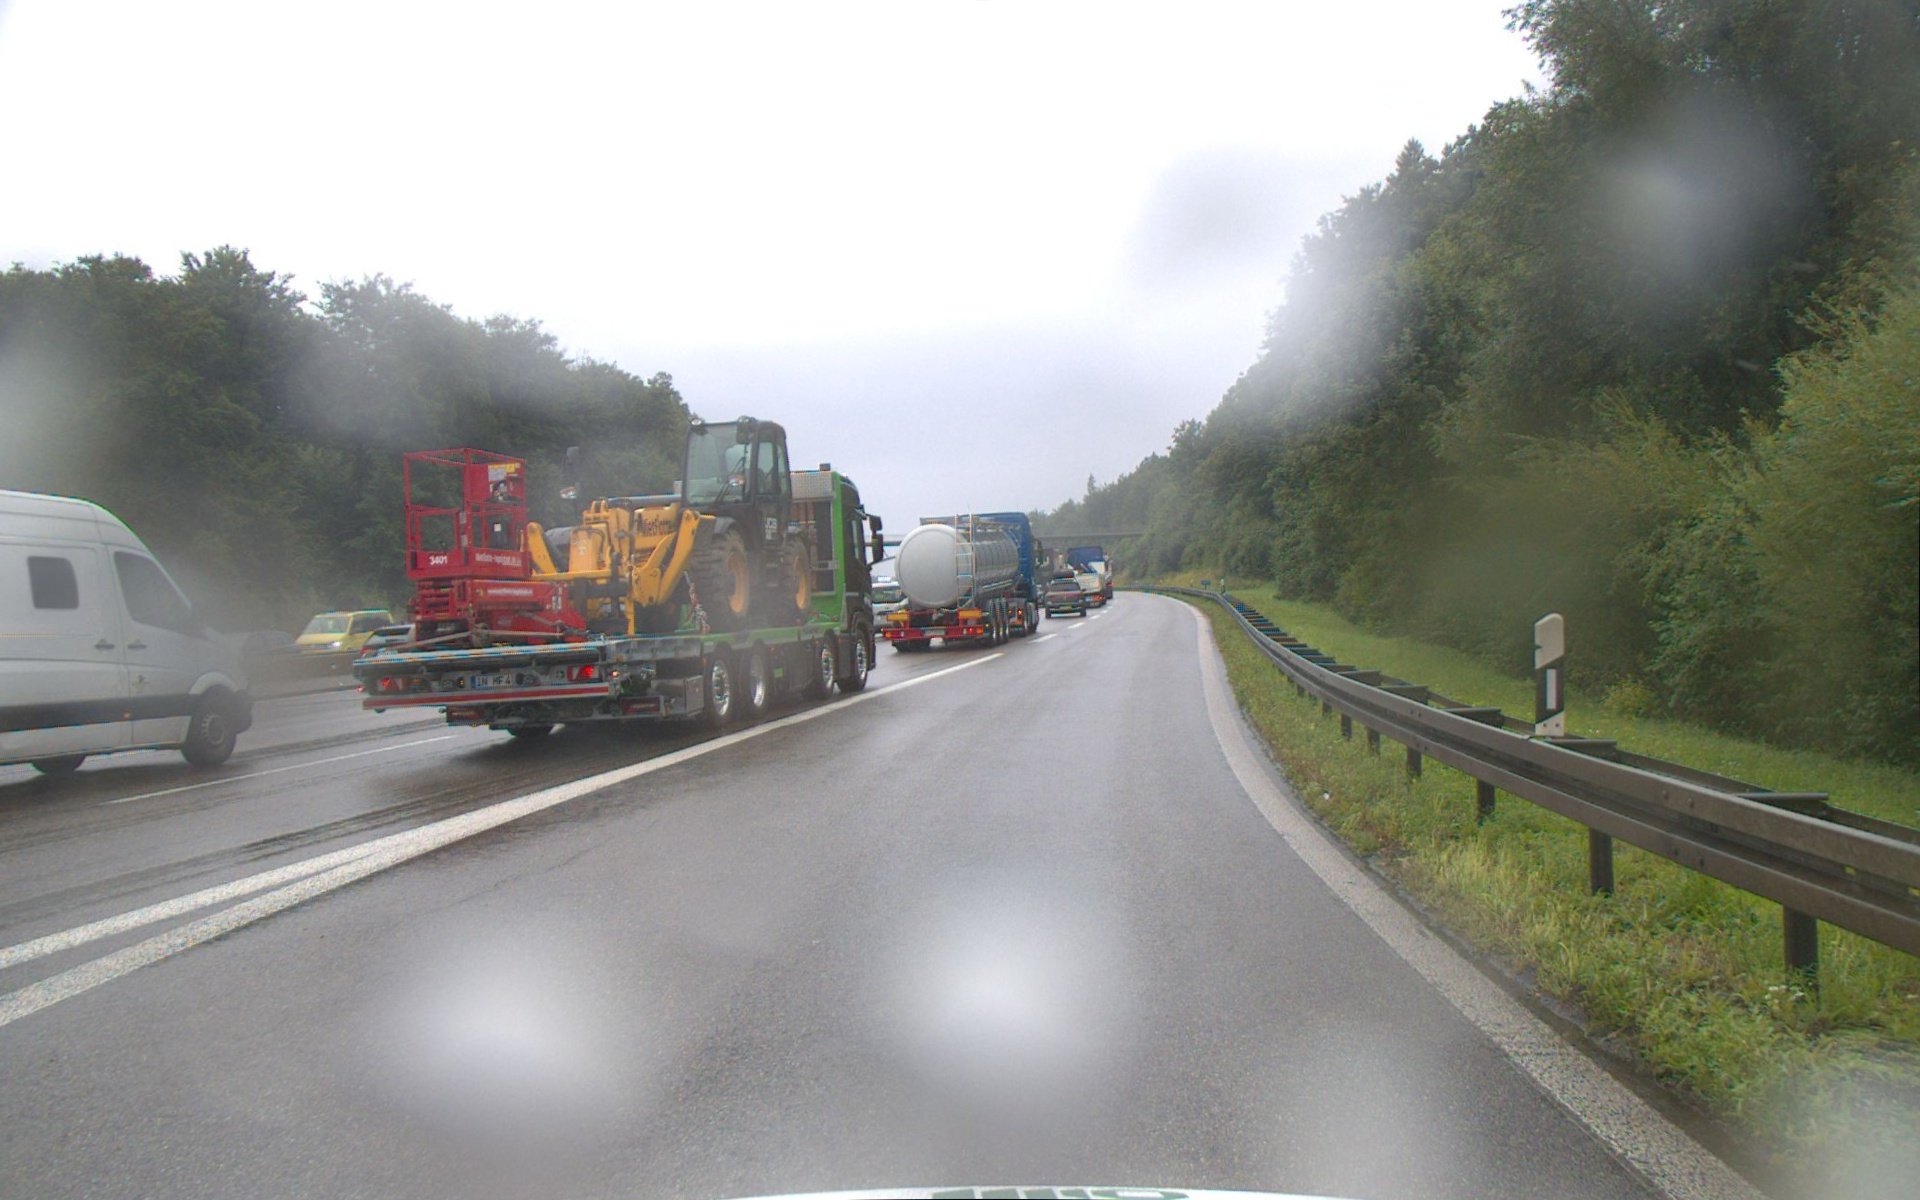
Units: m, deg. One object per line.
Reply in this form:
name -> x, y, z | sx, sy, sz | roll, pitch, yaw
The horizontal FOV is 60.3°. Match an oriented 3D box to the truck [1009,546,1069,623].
truck -> 6.116, -1.047, 126.741 | 3.674, 5.595, 10.179 | 1, -1, 7

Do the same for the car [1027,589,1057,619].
car -> 5.435, 0.271, 108.999 | 1.759, 1.937, 4.002 | 0, -1, 6

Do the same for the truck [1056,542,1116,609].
truck -> 8.928, -1.600, 115.866 | 3.432, 4.343, 10.611 | 1, -1, 8

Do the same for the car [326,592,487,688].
car -> -12.633, 0.909, 38.025 | 1.759, 2.049, 4.003 | 1, -1, 10

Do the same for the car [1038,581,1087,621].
car -> 4.608, 0.056, 73.689 | 1.951, 1.665, 4.003 | 1, -1, 7

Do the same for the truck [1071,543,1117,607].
truck -> 13.237, -2.378, 162.957 | 4.244, 5.865, 9.736 | 1, -1, 5

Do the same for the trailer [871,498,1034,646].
trailer -> 0.038, -0.733, 43.950 | 2.812, 3.346, 10.087 | -3, 0, 8

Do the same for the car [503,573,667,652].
car -> -8.565, 0.243, 38.280 | 1.951, 1.621, 4.812 | -3, 0, 9

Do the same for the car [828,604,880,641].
car -> -5.536, 1.152, 86.909 | 1.951, 1.803, 4.138 | -2, 0, 7

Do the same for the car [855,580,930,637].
car -> -2.234, 0.265, 55.892 | 1.781, 1.798, 4.003 | -2, 0, 8

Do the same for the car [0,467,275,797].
car -> -8.704, 0.298, 14.381 | 2.168, 2.675, 5.849 | -2, 0, 10

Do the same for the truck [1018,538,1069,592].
truck -> 7.312, -2.955, 143.225 | 3.500, 4.167, 10.887 | -2, -1, 7

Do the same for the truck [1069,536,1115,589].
truck -> 11.327, -3.096, 141.468 | 3.675, 4.040, 11.065 | 1, -1, 5

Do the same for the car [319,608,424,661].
car -> -21.527, 1.232, 60.695 | 1.565, 1.753, 4.642 | -3, 0, 9

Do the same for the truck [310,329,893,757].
truck -> -3.470, -0.528, 20.566 | 2.771, 3.651, 11.808 | -3, 0, 9

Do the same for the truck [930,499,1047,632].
truck -> 0.961, -1.034, 50.750 | 2.816, 3.758, 5.061 | -3, 0, 8

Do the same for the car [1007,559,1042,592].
car -> 3.927, -1.454, 99.933 | 1.759, 1.870, 4.003 | 1, -1, 7

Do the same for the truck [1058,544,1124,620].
truck -> 8.000, -1.094, 99.754 | 3.524, 4.176, 11.568 | -3, 0, 5
